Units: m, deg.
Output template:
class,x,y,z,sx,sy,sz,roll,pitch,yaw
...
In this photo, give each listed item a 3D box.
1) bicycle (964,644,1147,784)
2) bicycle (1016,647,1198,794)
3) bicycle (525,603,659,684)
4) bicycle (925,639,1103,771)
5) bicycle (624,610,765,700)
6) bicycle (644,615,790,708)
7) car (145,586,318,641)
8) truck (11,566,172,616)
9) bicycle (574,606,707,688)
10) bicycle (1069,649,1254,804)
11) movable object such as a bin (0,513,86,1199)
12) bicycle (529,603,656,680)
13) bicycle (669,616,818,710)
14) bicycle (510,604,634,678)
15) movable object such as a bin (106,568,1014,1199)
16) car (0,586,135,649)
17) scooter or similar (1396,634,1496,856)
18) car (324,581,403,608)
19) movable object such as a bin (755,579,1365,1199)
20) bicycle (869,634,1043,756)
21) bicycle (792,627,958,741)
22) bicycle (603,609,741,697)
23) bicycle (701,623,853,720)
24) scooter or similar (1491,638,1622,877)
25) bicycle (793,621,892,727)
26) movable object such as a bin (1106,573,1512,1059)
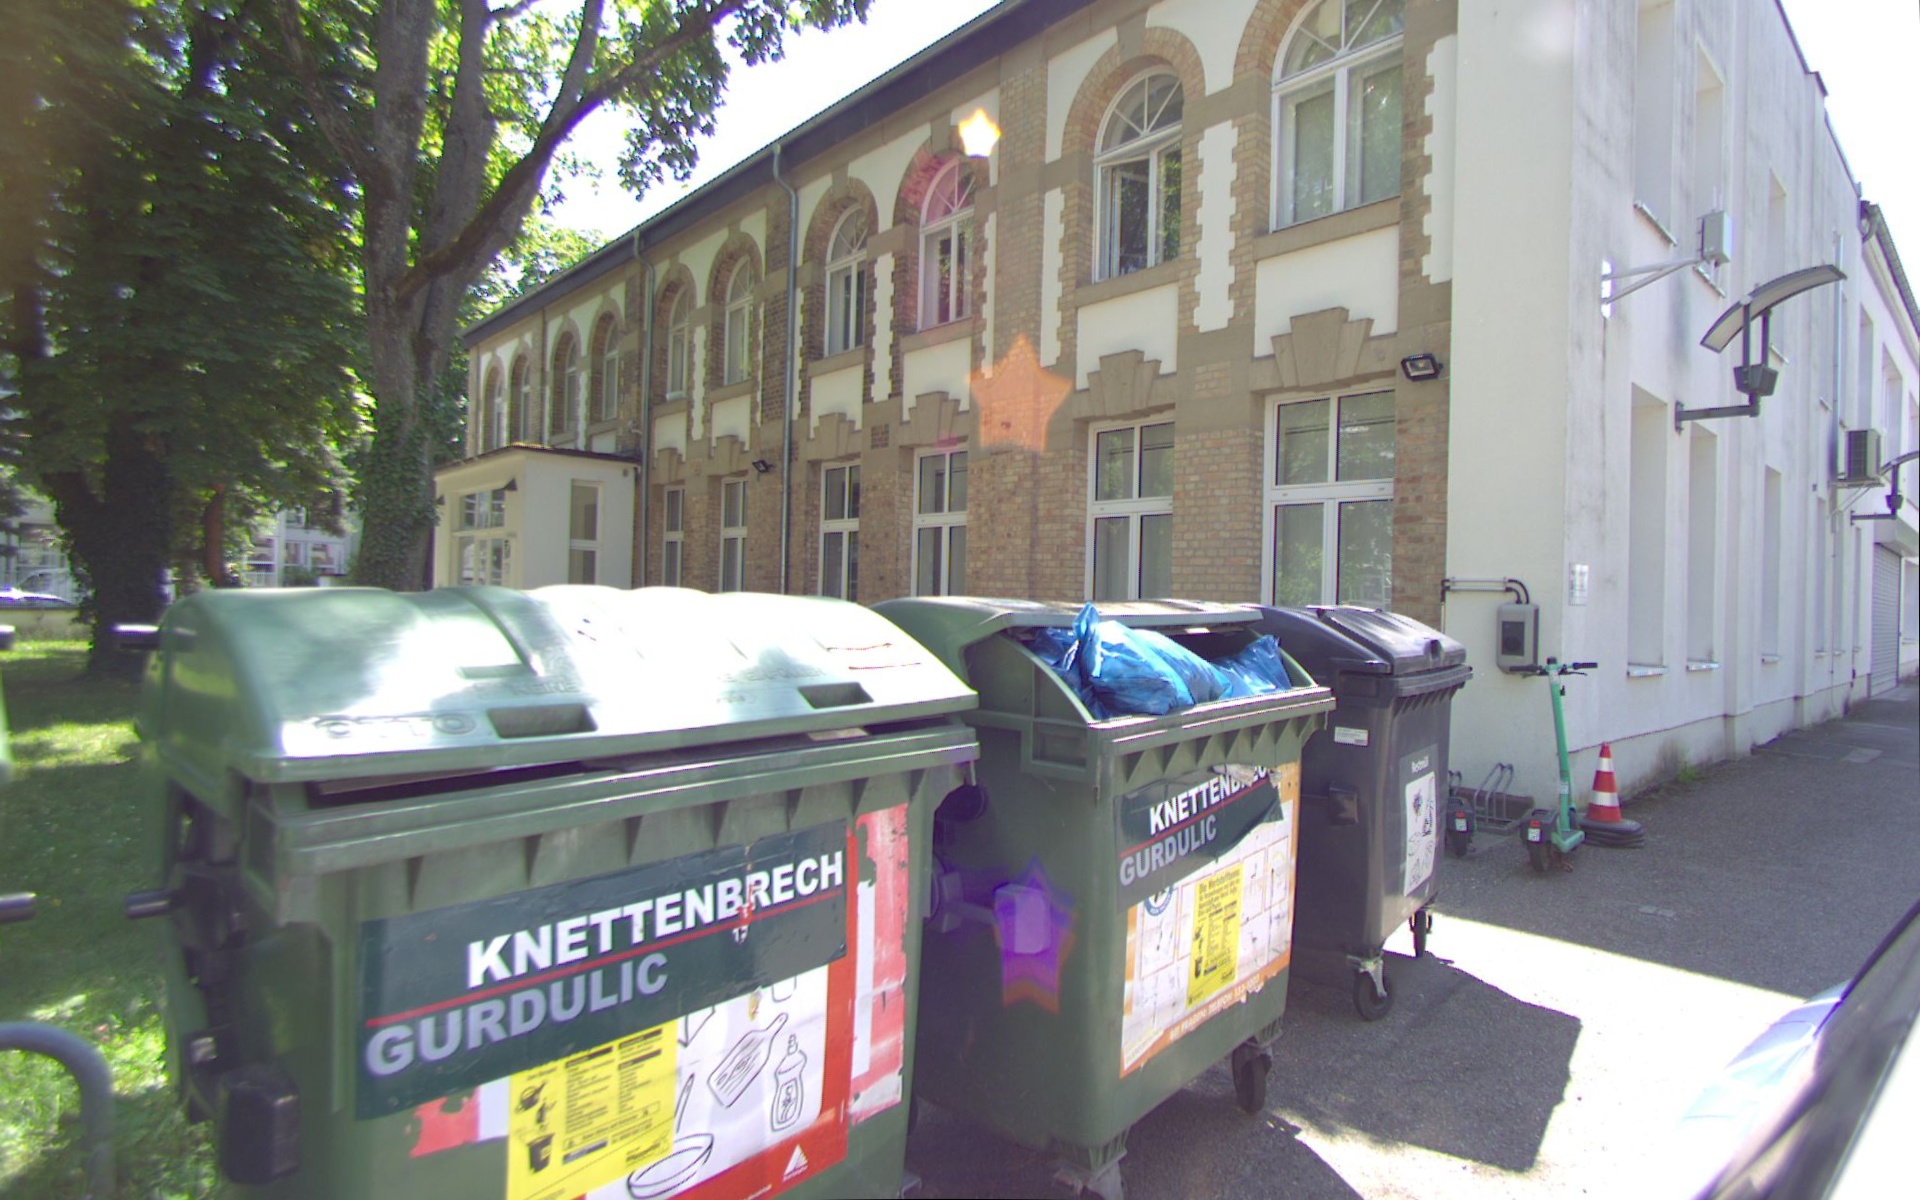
class,x,y,z,sx,sy,sz,roll,pitch,yaw
bicycle,0.886,0.954,8.954,1.803,1.081,0.504,2,-1,-42
bicycle,1.285,0.963,8.560,1.803,1.081,0.454,2,-1,-42
bicycle,-5.596,0.644,15.447,1.807,1.157,0.589,1,0,-37
bicycle,0.541,0.925,9.406,1.803,1.081,0.504,1,0,-42
bicycle,-3.635,0.731,13.959,1.810,1.157,0.588,1,0,-42
bicycle,-3.208,0.783,13.487,1.810,1.157,0.588,1,0,-42
car,-21.425,0.364,29.953,1.684,1.482,3.912,1,0,19
truck,-34.089,-0.358,39.889,4.550,1.856,1.658,0,0,-28
bicycle,-4.782,0.682,15.216,1.810,1.157,0.588,1,0,-42
bicycle,1.669,0.964,8.165,1.803,1.081,0.454,2,-1,-42
movable object such as a bin,-1.753,0.658,0.947,1.178,1.488,1.291,0,0,42
bicycle,-5.846,0.639,16.163,1.810,1.157,0.588,1,0,-42
bicycle,-2.724,0.766,12.873,1.810,1.114,0.522,1,0,-42
bicycle,-6.372,0.656,16.695,1.810,1.157,0.588,1,0,-42
movable object such as a bin,-0.756,0.700,1.979,1.179,1.488,1.291,0,0,44
car,-23.269,0.413,25.205,1.684,1.482,3.912,1,0,19
scooter or similar,3.048,0.831,6.300,0.461,1.188,1.243,1,0,30
car,-30.467,-0.282,51.772,3.270,1.307,1.501,1,0,-21
movable object such as a bin,0.308,0.693,2.831,1.178,1.488,1.292,0,0,41
bicycle,-0.001,0.882,9.932,1.803,1.081,0.504,2,-1,-42
bicycle,-0.882,0.868,10.876,1.803,1.117,0.522,2,-1,-42
bicycle,-4.078,0.725,14.433,1.810,1.157,0.588,1,0,-42
bicycle,-2.192,0.829,12.314,1.803,1.083,0.522,1,0,-42
scooter or similar,3.516,0.844,5.926,0.463,1.188,1.338,1,0,39
bicycle,-1.331,0.814,11.797,0.466,1.117,1.826,1,-1,16
movable object such as a bin,1.457,0.667,4.105,1.153,1.524,1.442,0,0,39
